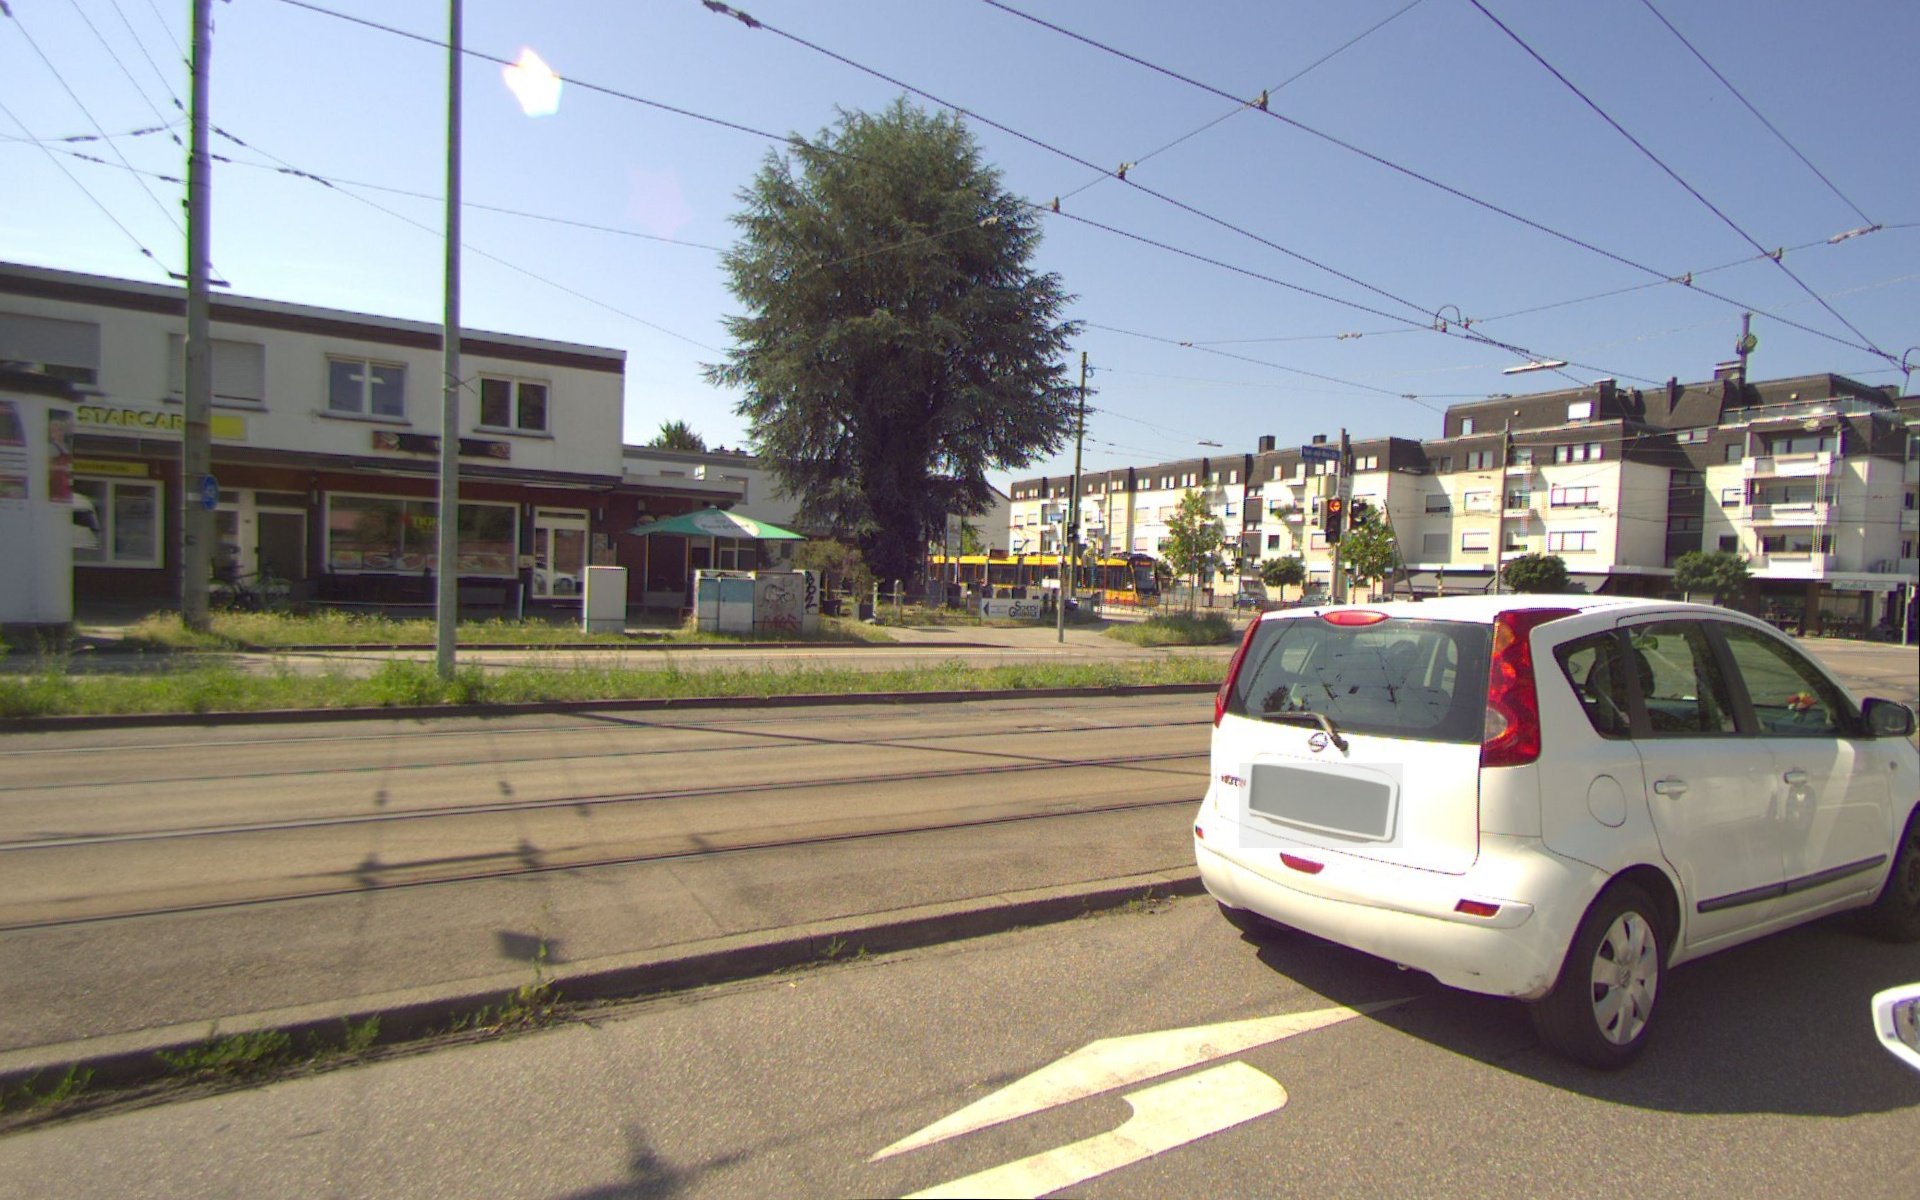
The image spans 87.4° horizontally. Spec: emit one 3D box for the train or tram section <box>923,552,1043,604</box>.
[{"bbox_3d":[1.482,-1.847,79.895,2.736,3.707,13.795,1,1,-30],"label":"train or tram section"}]

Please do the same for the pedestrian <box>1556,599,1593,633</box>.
[{"bbox_3d":[34.794,0.875,56.878,1.410,1.861,1.123,2,1,11],"label":"pedestrian"}]

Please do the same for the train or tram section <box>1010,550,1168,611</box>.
[{"bbox_3d":[8.323,-1.395,67.923,2.736,3.707,13.795,1,1,-30],"label":"train or tram section"}]

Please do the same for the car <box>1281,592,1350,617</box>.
[{"bbox_3d":[23.904,0.279,67.635,1.807,1.520,4.151,1,1,-30],"label":"car"}]

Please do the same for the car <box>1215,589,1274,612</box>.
[{"bbox_3d":[20.632,0.011,72.957,1.807,1.520,3.967,1,1,-30],"label":"car"}]

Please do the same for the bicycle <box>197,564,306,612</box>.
[{"bbox_3d":[-15.671,-0.263,22.277,1.889,0.996,0.754,1,1,-30],"label":"bicycle"}]

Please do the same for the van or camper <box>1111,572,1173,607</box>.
[{"bbox_3d":[14.956,-0.880,82.864,2.349,2.660,4.850,1,1,-31],"label":"van or camper"}]

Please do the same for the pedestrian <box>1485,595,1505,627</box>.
[{"bbox_3d":[31.036,0.632,58.256,0.795,1.783,0.764,2,1,15],"label":"pedestrian"}]

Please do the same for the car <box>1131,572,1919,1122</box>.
[{"bbox_3d":[2.932,0.744,4.669,4.019,1.582,1.757,1,0,-30],"label":"car"}]
